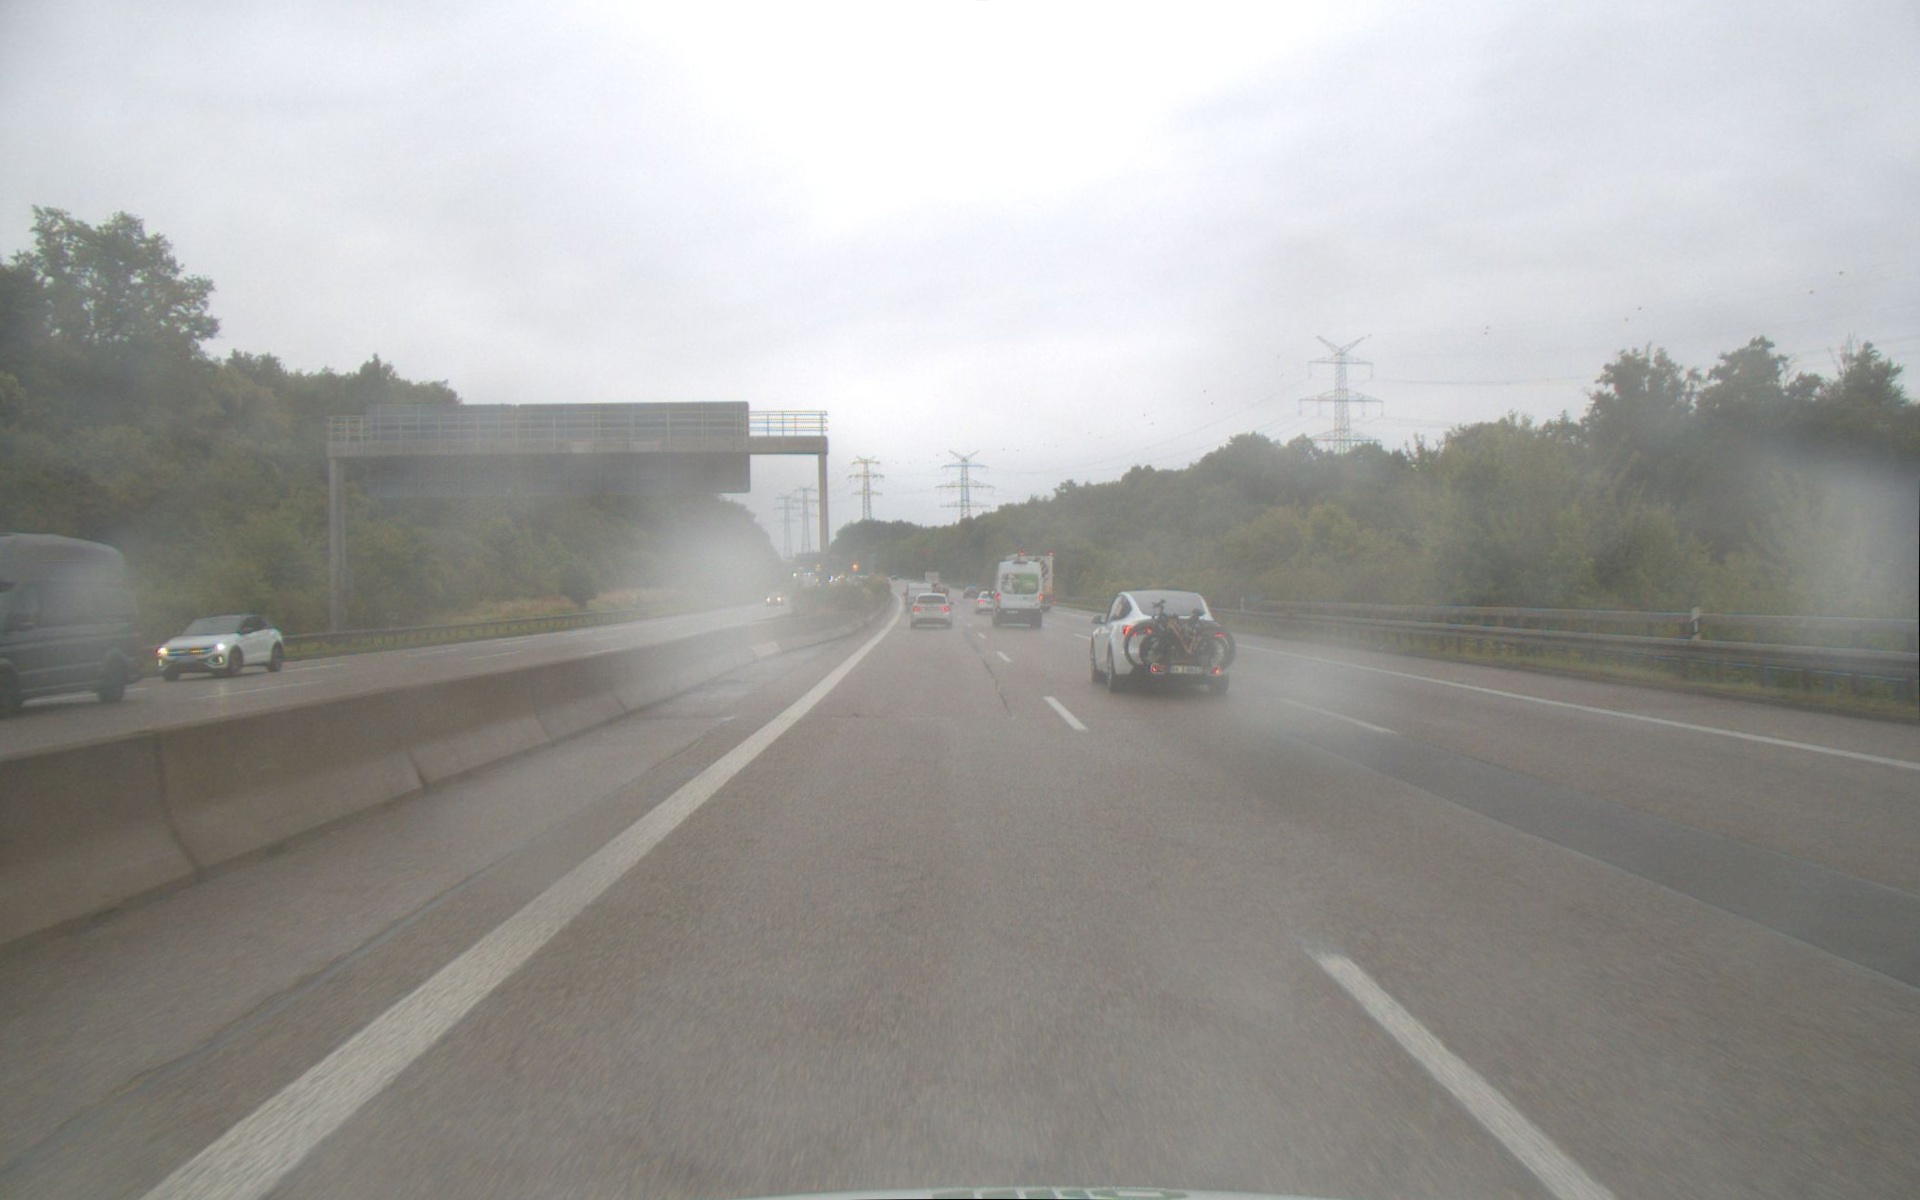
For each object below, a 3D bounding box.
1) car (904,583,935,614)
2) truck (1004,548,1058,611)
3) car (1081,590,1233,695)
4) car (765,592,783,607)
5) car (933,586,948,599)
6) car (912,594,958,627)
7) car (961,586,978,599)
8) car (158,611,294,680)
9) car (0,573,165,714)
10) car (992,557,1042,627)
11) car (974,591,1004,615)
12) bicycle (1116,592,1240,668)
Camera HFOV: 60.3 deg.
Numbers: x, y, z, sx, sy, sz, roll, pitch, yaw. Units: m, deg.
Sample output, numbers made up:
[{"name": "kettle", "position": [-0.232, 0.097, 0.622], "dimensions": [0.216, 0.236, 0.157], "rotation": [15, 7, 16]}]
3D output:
[{"name": "car", "position": [-2.493, -0.089, 102.068], "dimensions": [1.808, 1.803, 3.999], "rotation": [1, 0, -1]}, {"name": "truck", "position": [5.150, -1.473, 122.364], "dimensions": [3.529, 4.408, 13.200], "rotation": [0, 0, 0]}, {"name": "car", "position": [3.186, 0.633, 27.691], "dimensions": [1.823, 1.595, 4.962], "rotation": [0, 0, -1]}, {"name": "car", "position": [-19.548, -0.052, 173.926], "dimensions": [1.827, 1.467, 3.995], "rotation": [-1, 0, -5]}, {"name": "car", "position": [-2.525, -0.965, 213.881], "dimensions": [1.953, 1.601, 3.999], "rotation": [-2, 0, -1]}, {"name": "car", "position": [-1.034, 0.413, 68.761], "dimensions": [1.829, 1.310, 3.999], "rotation": [-1, 0, -1]}, {"name": "car", "position": [1.163, -0.902, 202.625], "dimensions": [1.953, 1.512, 3.999], "rotation": [-3, 0, -2]}, {"name": "car", "position": [-18.826, 1.135, 42.597], "dimensions": [1.680, 1.612, 4.144], "rotation": [-1, 0, -1]}, {"name": "car", "position": [-16.024, 0.701, 28.118], "dimensions": [1.953, 2.206, 6.415], "rotation": [-1, 0, -1]}, {"name": "car", "position": [2.406, -0.337, 71.089], "dimensions": [1.953, 2.914, 4.000], "rotation": [-1, 0, 0]}, {"name": "car", "position": [1.815, 0.153, 104.291], "dimensions": [1.819, 1.447, 4.000], "rotation": [0, 1, 0]}, {"name": "bicycle", "position": [3.242, 0.443, 24.736], "dimensions": [1.718, 1.110, 0.913], "rotation": [0, -1, -2]}]
